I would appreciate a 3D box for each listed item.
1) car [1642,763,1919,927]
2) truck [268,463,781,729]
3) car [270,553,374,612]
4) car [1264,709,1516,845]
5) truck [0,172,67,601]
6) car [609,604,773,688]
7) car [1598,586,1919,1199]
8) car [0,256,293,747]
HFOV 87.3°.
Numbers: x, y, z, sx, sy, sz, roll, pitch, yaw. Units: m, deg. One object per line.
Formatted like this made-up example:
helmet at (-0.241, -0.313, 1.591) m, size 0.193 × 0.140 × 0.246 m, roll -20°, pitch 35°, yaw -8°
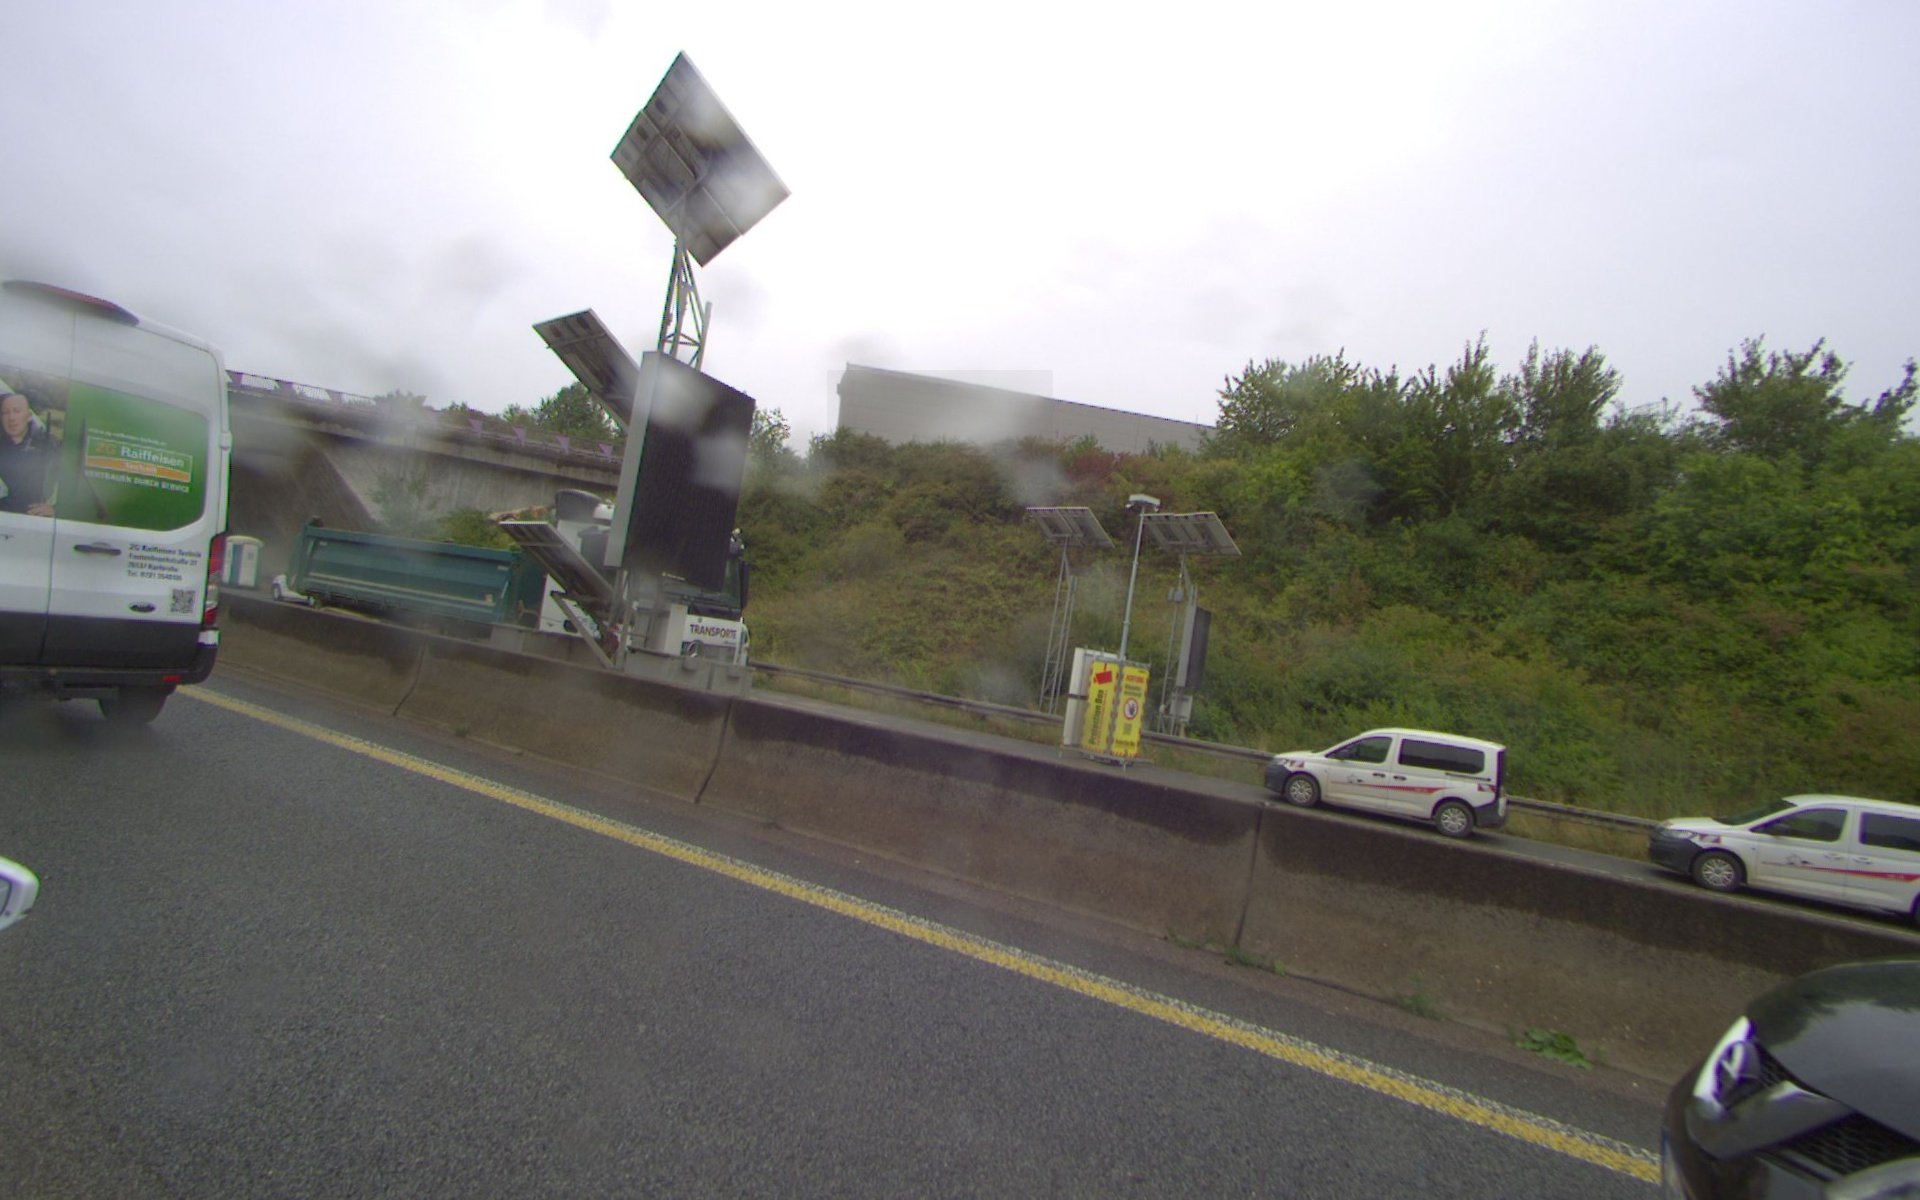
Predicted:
car at (13.779, 3.937, 16.272) m, size 4.257 × 1.790 × 1.732 m, roll 6°, pitch -2°, yaw 30°
truck at (-7.257, -0.245, 16.041) m, size 8.967 × 3.168 × 2.525 m, roll 6°, pitch -1°, yaw 31°
car at (-25.459, -0.707, 40.107) m, size 4.090 × 1.830 × 1.850 m, roll 6°, pitch -2°, yaw 34°
car at (8.341, 3.323, 19.599) m, size 4.196 × 1.778 × 1.732 m, roll 6°, pitch -2°, yaw 30°
truck at (-22.363, -3.943, 17.657) m, size 20.038 × 5.740 × 3.987 m, roll 6°, pitch -1°, yaw 32°
car at (-8.006, 1.337, 29.796) m, size 4.651 × 1.850 × 1.945 m, roll 6°, pitch -2°, yaw 34°
car at (3.436, 1.126, 0.953) m, size 4.563 × 1.694 × 1.894 m, roll 6°, pitch -2°, yaw 30°
car at (-7.746, -0.773, 7.413) m, size 6.015 × 2.707 × 2.148 m, roll 6°, pitch -1°, yaw 31°
